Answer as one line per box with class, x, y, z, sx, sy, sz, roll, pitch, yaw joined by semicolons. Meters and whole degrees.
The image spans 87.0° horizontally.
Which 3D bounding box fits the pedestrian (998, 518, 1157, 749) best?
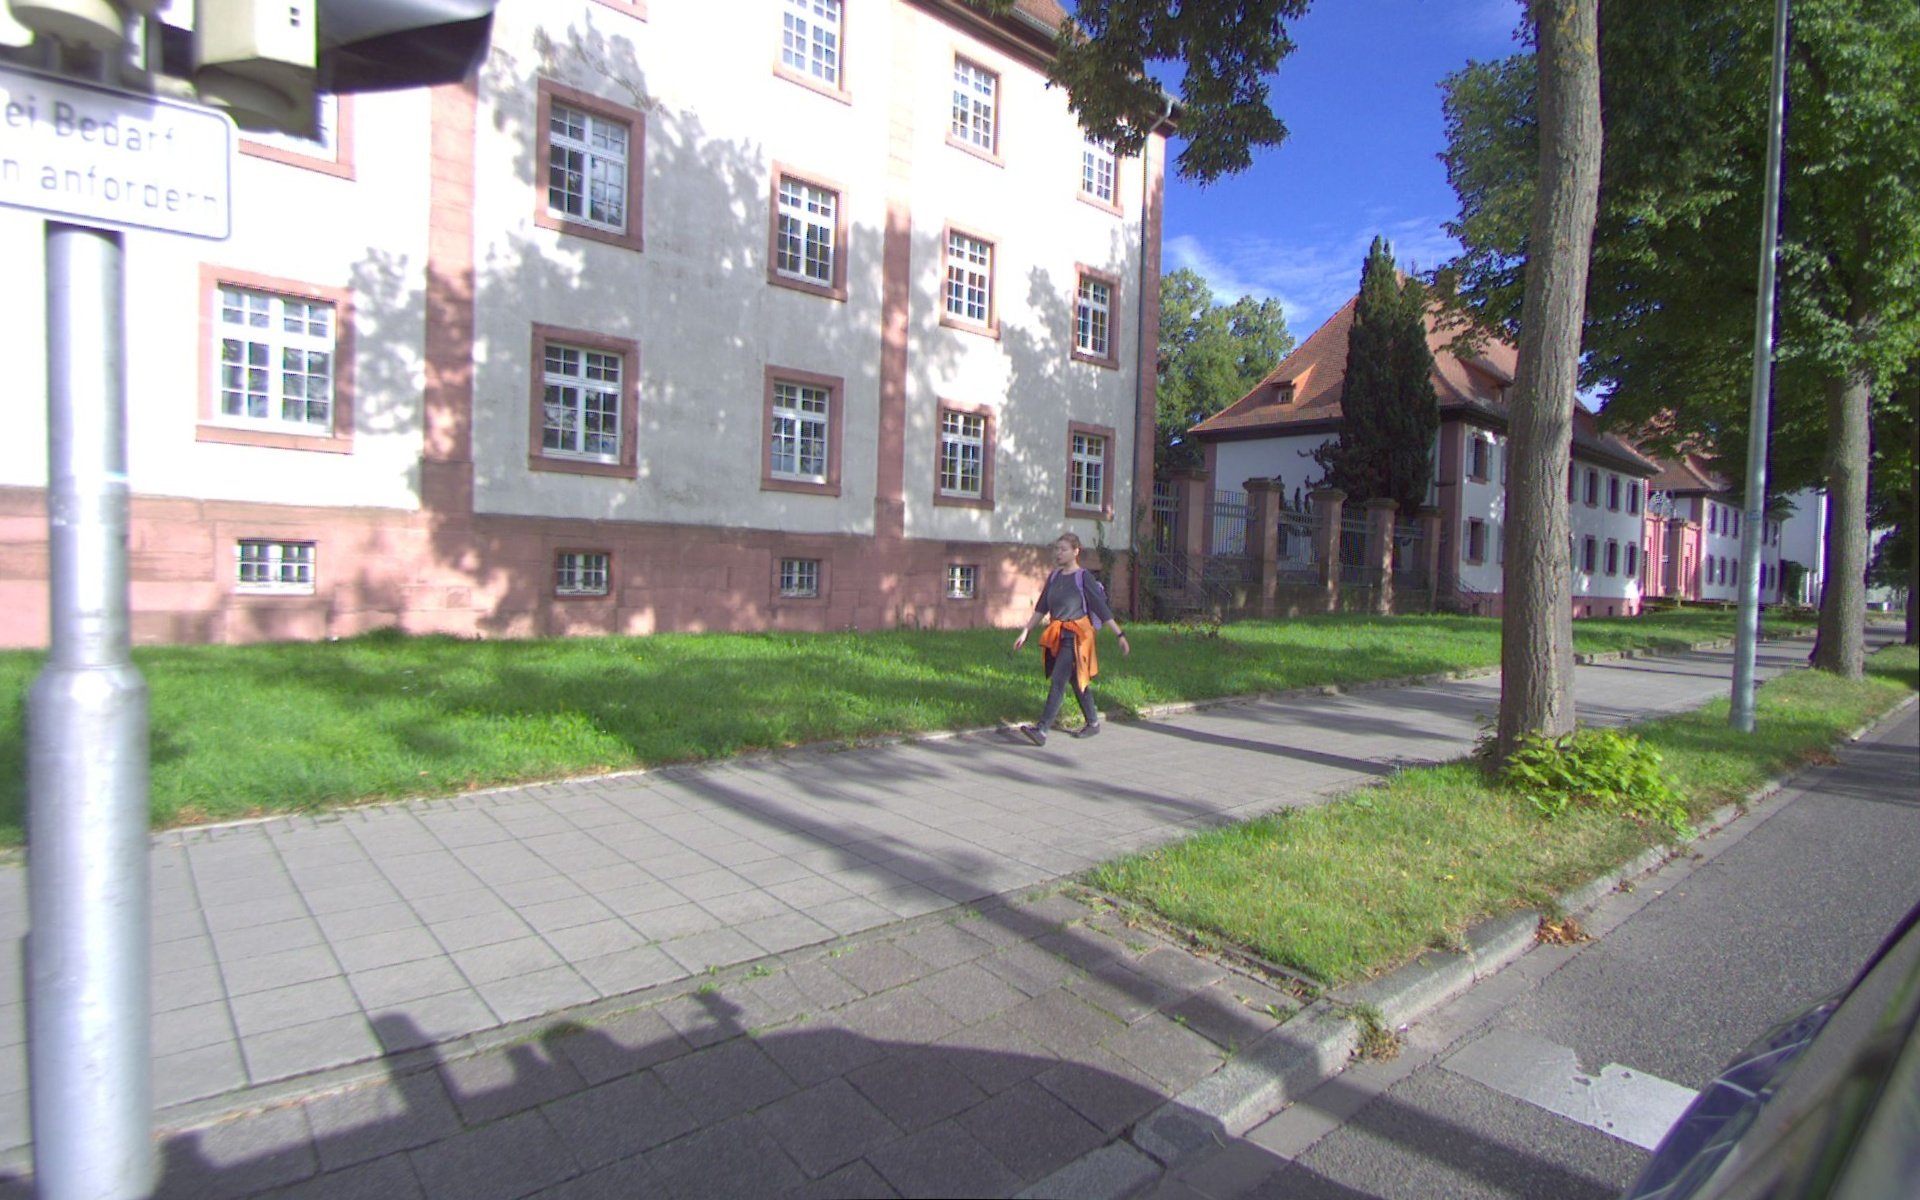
pedestrian;0.881;0.211;7.659;0.756;1.609;0.815;0;4;-42
